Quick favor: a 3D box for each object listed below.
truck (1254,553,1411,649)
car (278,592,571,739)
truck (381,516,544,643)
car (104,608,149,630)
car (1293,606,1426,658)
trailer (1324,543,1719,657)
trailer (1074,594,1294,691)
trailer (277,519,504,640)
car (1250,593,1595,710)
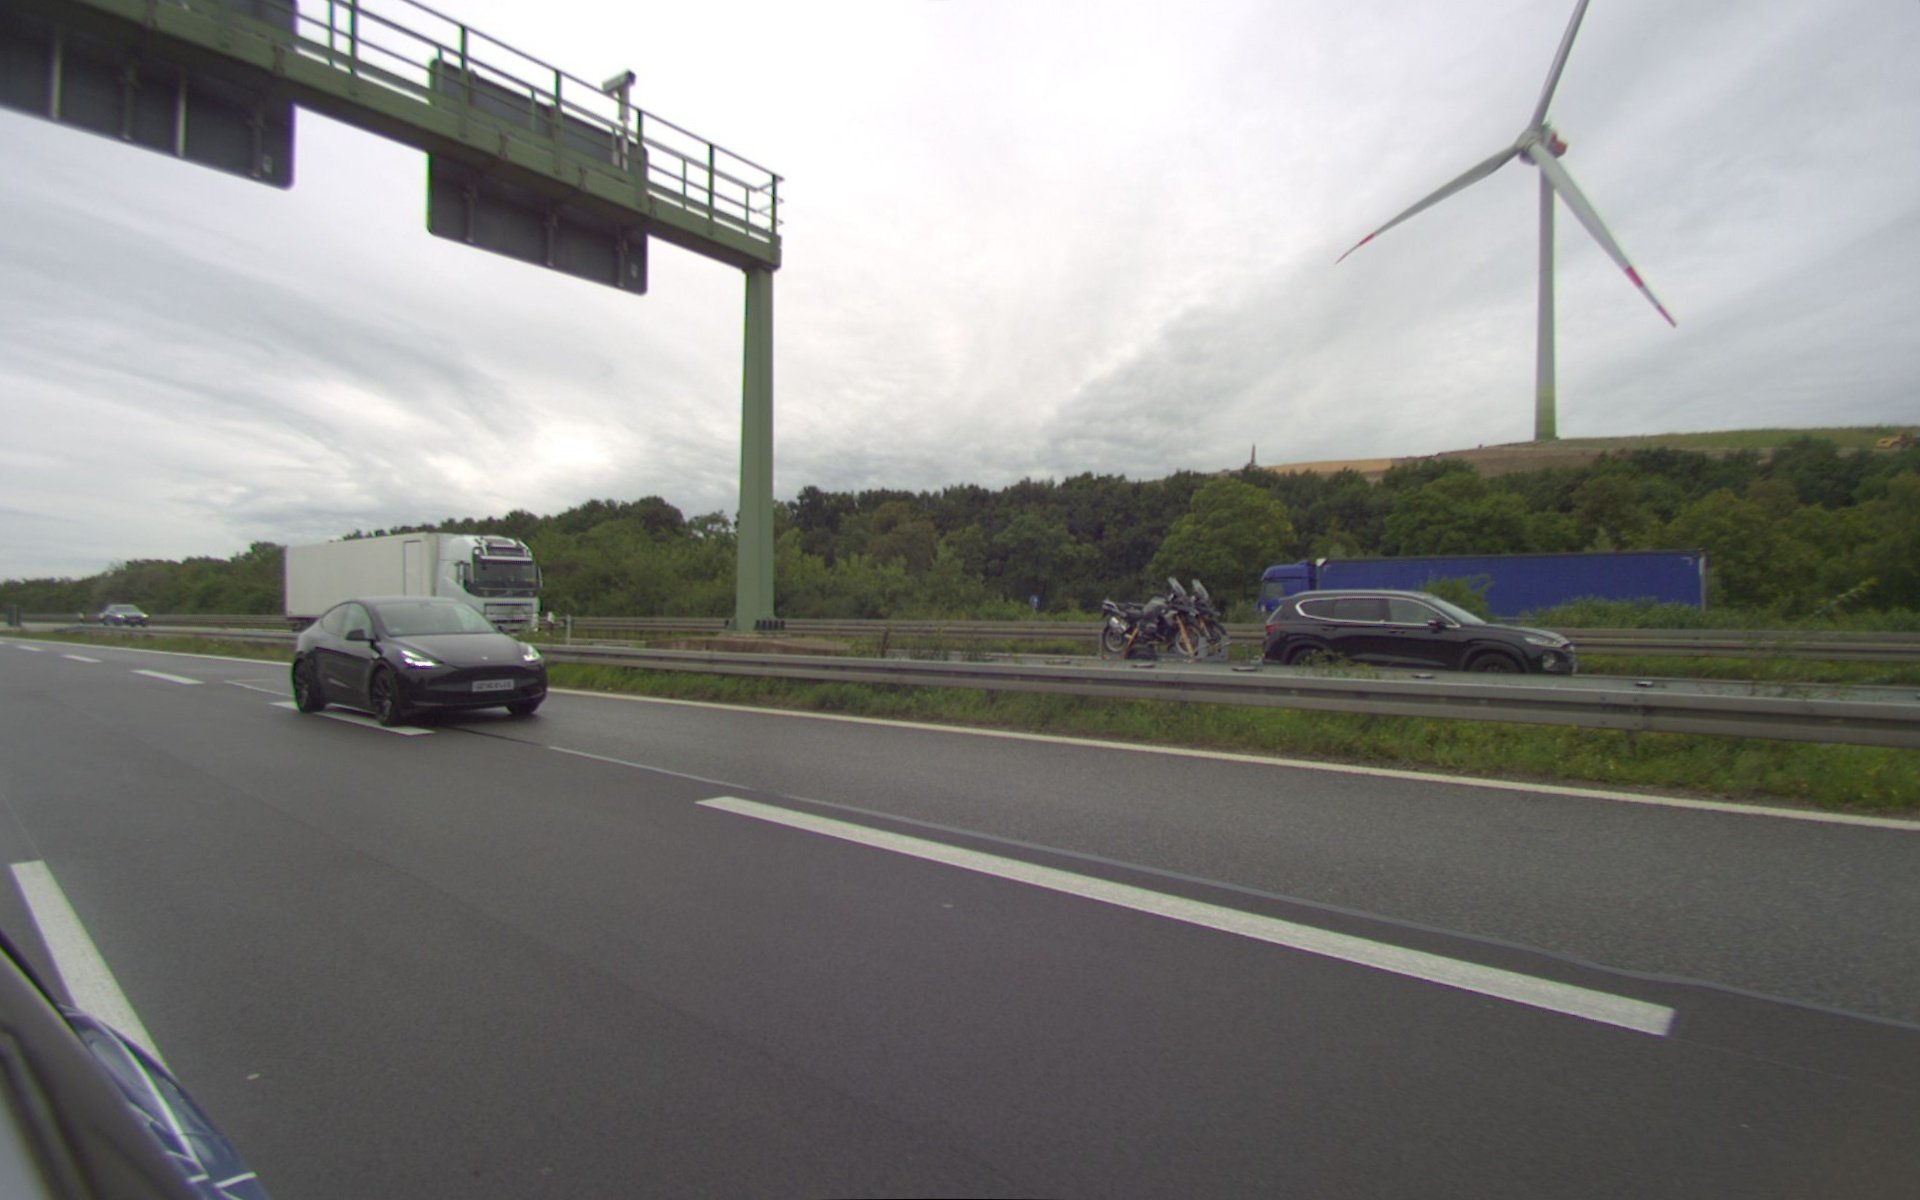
[{"bbox_3d":[16.449,0.084,44.799,5.890,3.955,2.931,-1,-1,38],"label":"truck"},{"bbox_3d":[-7.300,0.732,13.598,4.551,1.650,1.941,0,0,40],"label":"car"},{"bbox_3d":[-17.893,-0.641,36.244,6.436,4.166,2.740,-1,0,38],"label":"truck"},{"bbox_3d":[-64.724,1.495,78.578,4.480,1.663,1.880,-1,-1,39],"label":"car"},{"bbox_3d":[15.781,1.219,40.055,4.521,1.935,1.974,-1,-1,39],"label":"car"},{"bbox_3d":[21.858,0.081,40.473,13.509,3.955,2.931,-1,-1,38],"label":"trailer"},{"bbox_3d":[4.171,0.719,19.042,3.607,1.638,1.864,0,0,39],"label":"trailer"},{"bbox_3d":[-23.028,-0.637,40.280,13.932,4.166,2.740,-1,0,38],"label":"trailer"},{"bbox_3d":[7.377,0.717,16.433,4.802,1.638,1.864,0,0,39],"label":"car"}]
